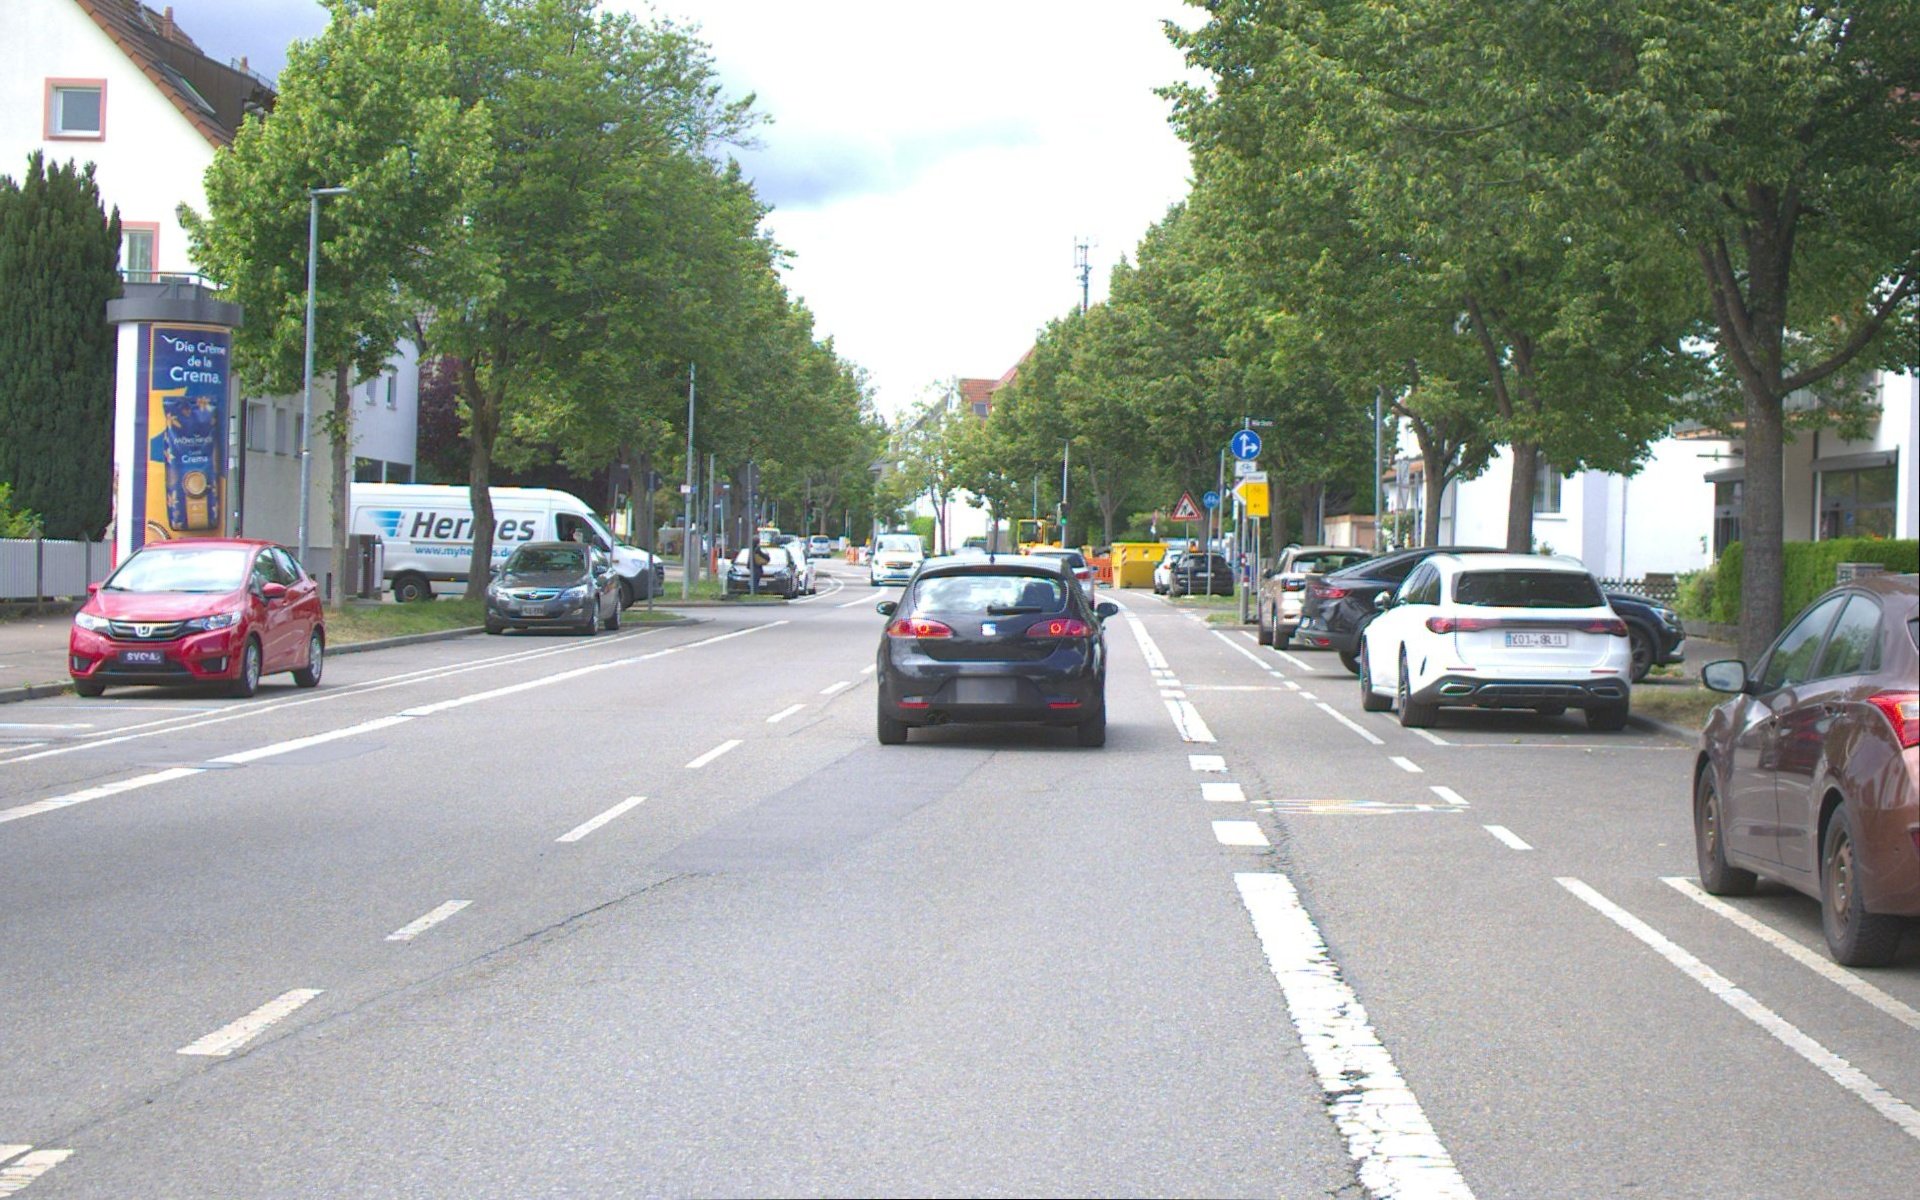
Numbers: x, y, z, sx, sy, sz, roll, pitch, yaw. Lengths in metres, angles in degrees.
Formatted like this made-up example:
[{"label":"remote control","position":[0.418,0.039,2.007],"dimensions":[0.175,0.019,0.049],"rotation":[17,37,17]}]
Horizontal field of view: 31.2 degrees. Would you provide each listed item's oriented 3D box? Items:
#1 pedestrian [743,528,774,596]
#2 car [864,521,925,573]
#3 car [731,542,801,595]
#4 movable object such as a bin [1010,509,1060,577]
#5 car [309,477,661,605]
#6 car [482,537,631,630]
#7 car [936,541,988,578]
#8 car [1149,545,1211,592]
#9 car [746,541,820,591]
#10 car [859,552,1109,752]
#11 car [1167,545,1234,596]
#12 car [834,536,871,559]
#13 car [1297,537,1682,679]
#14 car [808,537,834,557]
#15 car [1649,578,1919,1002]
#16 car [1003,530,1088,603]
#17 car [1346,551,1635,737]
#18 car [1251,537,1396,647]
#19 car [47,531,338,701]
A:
[{"label":"pedestrian","position":[-5.053,-0.959,86.108],"dimensions":[0.542,1.675,0.750],"rotation":[3,2,10]},{"label":"car","position":[-2.366,-1.920,124.801],"dimensions":[1.966,1.824,4.819],"rotation":[1,1,2]},{"label":"car","position":[-5.302,-0.879,94.207],"dimensions":[1.643,1.415,4.020],"rotation":[0,1,1]},{"label":"movable object such as a bin","position":[2.907,-2.221,133.921],"dimensions":[1.768,2.565,3.740],"rotation":[1,1,0]},{"label":"car","position":[-10.196,-1.276,74.275],"dimensions":[7.288,2.585,2.220],"rotation":[1,1,-1]},{"label":"car","position":[-6.583,-0.299,56.429],"dimensions":[1.731,1.464,4.301],"rotation":[0,1,3]},{"label":"car","position":[0.073,-1.594,134.637],"dimensions":[1.810,1.370,3.693],"rotation":[1,1,-3]},{"label":"car","position":[7.116,-1.046,111.332],"dimensions":[1.672,1.457,4.000],"rotation":[1,1,-1]},{"label":"car","position":[-5.174,-1.008,100.857],"dimensions":[1.714,1.401,4.300],"rotation":[1,1,3]},{"label":"car","position":[0.161,0.358,27.057],"dimensions":[1.819,1.433,3.740],"rotation":[0,1,0]},{"label":"car","position":[7.079,-0.894,101.518],"dimensions":[1.705,1.449,4.616],"rotation":[1,1,1]},{"label":"car","position":[-6.754,-3.293,215.448],"dimensions":[1.809,1.410,3.694],"rotation":[1,1,-10]},{"label":"car","position":[6.200,0.079,40.501],"dimensions":[4.216,1.632,1.693],"rotation":[0,1,-3]},{"label":"car","position":[-10.369,-3.977,257.010],"dimensions":[1.809,1.410,3.694],"rotation":[1,1,-4]},{"label":"car","position":[4.039,0.645,13.983],"dimensions":[1.653,1.411,4.177],"rotation":[0,1,0]},{"label":"car","position":[2.054,-0.808,81.577],"dimensions":[1.906,1.680,3.739],"rotation":[0,1,3]},{"label":"car","position":[4.587,0.325,30.386],"dimensions":[1.805,1.470,4.812],"rotation":[1,1,0]},{"label":"car","position":[5.488,-0.155,52.296],"dimensions":[1.722,1.575,4.061],"rotation":[1,1,0]},{"label":"car","position":[-7.476,0.110,33.870],"dimensions":[1.685,1.536,4.132],"rotation":[1,1,4]}]
